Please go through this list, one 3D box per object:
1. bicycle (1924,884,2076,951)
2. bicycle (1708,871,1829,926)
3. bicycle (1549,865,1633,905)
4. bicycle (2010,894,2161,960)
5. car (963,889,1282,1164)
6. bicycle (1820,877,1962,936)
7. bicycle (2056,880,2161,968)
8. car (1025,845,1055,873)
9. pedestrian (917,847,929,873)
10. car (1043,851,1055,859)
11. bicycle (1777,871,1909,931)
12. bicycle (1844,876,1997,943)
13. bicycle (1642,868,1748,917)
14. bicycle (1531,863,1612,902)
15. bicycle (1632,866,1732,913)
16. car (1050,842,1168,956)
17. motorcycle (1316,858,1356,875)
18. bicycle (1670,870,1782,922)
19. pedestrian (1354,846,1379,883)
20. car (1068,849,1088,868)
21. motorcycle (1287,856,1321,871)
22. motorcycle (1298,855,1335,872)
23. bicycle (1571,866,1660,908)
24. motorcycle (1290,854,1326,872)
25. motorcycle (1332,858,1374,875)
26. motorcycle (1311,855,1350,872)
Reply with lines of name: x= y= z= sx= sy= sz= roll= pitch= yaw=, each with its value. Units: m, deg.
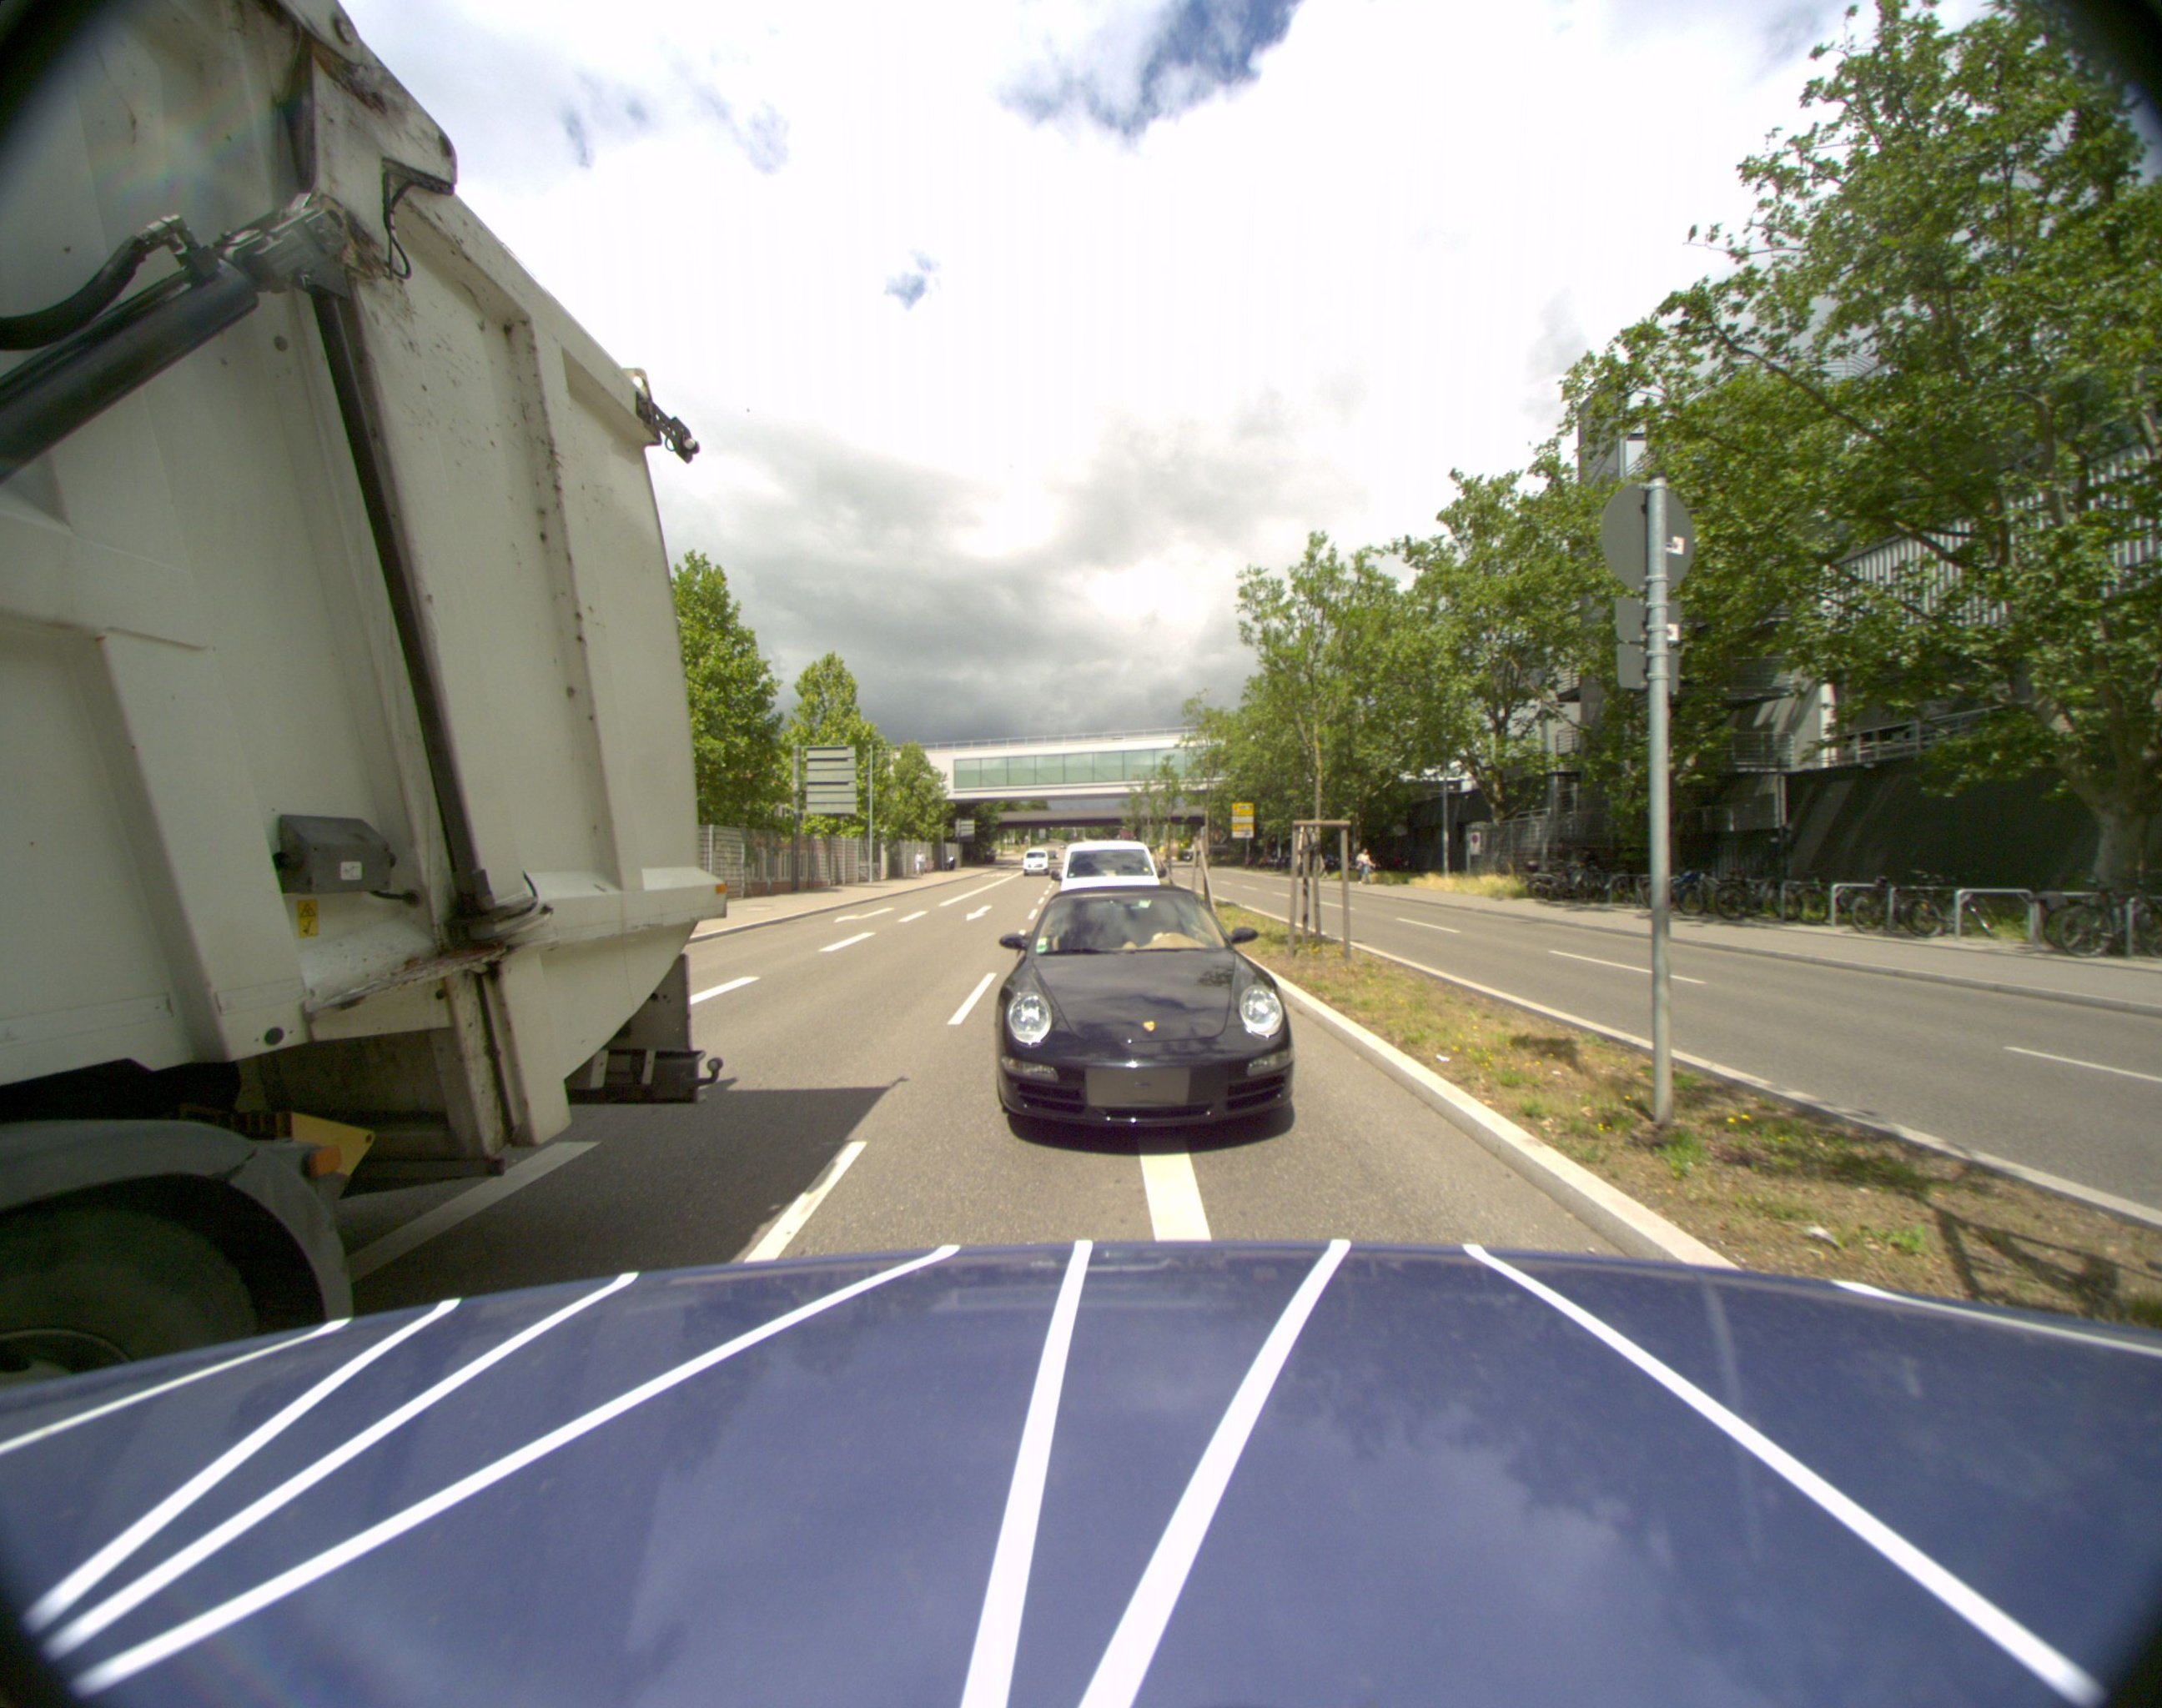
bicycle: x=14.758 y=1.012 z=12.215 sx=1.993 sy=0.992 sz=0.382 roll=-1 pitch=1 yaw=-1
bicycle: x=14.506 y=0.941 z=16.055 sx=2.129 sy=1.104 sz=0.382 roll=-1 pitch=1 yaw=3
bicycle: x=14.759 y=0.899 z=22.016 sx=2.129 sy=1.104 sz=0.382 roll=-1 pitch=1 yaw=3
bicycle: x=14.961 y=1.070 z=11.236 sx=1.993 sy=0.885 sz=0.382 roll=-1 pitch=1 yaw=-1
car: x=0.253 y=1.031 z=6.050 sx=1.710 sy=1.280 sz=3.806 roll=-1 pitch=0 yaw=1
bicycle: x=15.016 y=0.967 z=14.110 sx=2.129 sy=1.025 sz=0.382 roll=-1 pitch=1 yaw=3
bicycle: x=14.358 y=0.925 z=10.233 sx=1.993 sy=1.121 sz=0.382 roll=-1 pitch=1 yaw=-1
car: x=-3.124 y=0.388 z=59.000 sx=1.925 sy=2.082 sz=4.657 roll=-1 pitch=0 yaw=2
pedestrian: x=-11.564 y=0.420 z=55.629 sx=0.739 sy=1.901 sz=0.658 roll=-2 pitch=1 yaw=-4
car: x=-5.385 y=0.205 z=129.289 sx=1.862 sy=1.369 sz=4.356 roll=-1 pitch=0 yaw=-1
bicycle: x=15.046 y=0.924 z=15.016 sx=2.129 sy=1.104 sz=0.382 roll=-1 pitch=1 yaw=3
bicycle: x=14.583 y=0.955 z=13.216 sx=2.129 sy=1.089 sz=0.382 roll=-1 pitch=1 yaw=3
bicycle: x=14.510 y=0.905 z=17.966 sx=2.129 sy=1.104 sz=0.382 roll=-1 pitch=1 yaw=3
bicycle: x=14.754 y=0.863 z=22.858 sx=2.129 sy=1.104 sz=0.382 roll=-1 pitch=1 yaw=3
bicycle: x=15.070 y=0.893 z=19.081 sx=2.129 sy=1.104 sz=0.382 roll=-1 pitch=1 yaw=3
car: x=0.489 y=0.727 z=14.716 sx=1.862 sy=1.800 sz=4.906 roll=-1 pitch=0 yaw=1
motorcycle: x=14.995 y=0.732 z=44.668 sx=2.133 sy=0.880 sz=0.534 roll=-1 pitch=0 yaw=1
bicycle: x=14.485 y=0.930 z=17.079 sx=2.129 sy=1.104 sz=0.382 roll=-1 pitch=1 yaw=3
pedestrian: x=13.220 y=0.474 z=35.147 sx=0.900 sy=1.710 sz=0.673 roll=-1 pitch=1 yaw=1
car: x=-0.279 y=0.442 z=77.152 sx=1.862 sy=1.800 sz=4.357 roll=-3 pitch=0 yaw=1
motorcycle: x=15.003 y=0.662 z=51.163 sx=2.133 sy=0.963 sz=0.534 roll=-1 pitch=0 yaw=1
motorcycle: x=14.821 y=0.593 z=47.751 sx=2.133 sy=0.963 sz=0.534 roll=-1 pitch=0 yaw=1
bicycle: x=14.828 y=0.912 z=21.093 sx=2.129 sy=1.104 sz=0.382 roll=-1 pitch=1 yaw=3
motorcycle: x=14.649 y=0.594 z=48.988 sx=2.133 sy=1.131 sz=0.534 roll=-1 pitch=0 yaw=1
motorcycle: x=15.195 y=0.677 z=42.420 sx=2.133 sy=0.893 sz=0.534 roll=-1 pitch=0 yaw=1
motorcycle: x=14.998 y=0.562 z=45.635 sx=2.133 sy=0.963 sz=0.534 roll=-1 pitch=0 yaw=1
